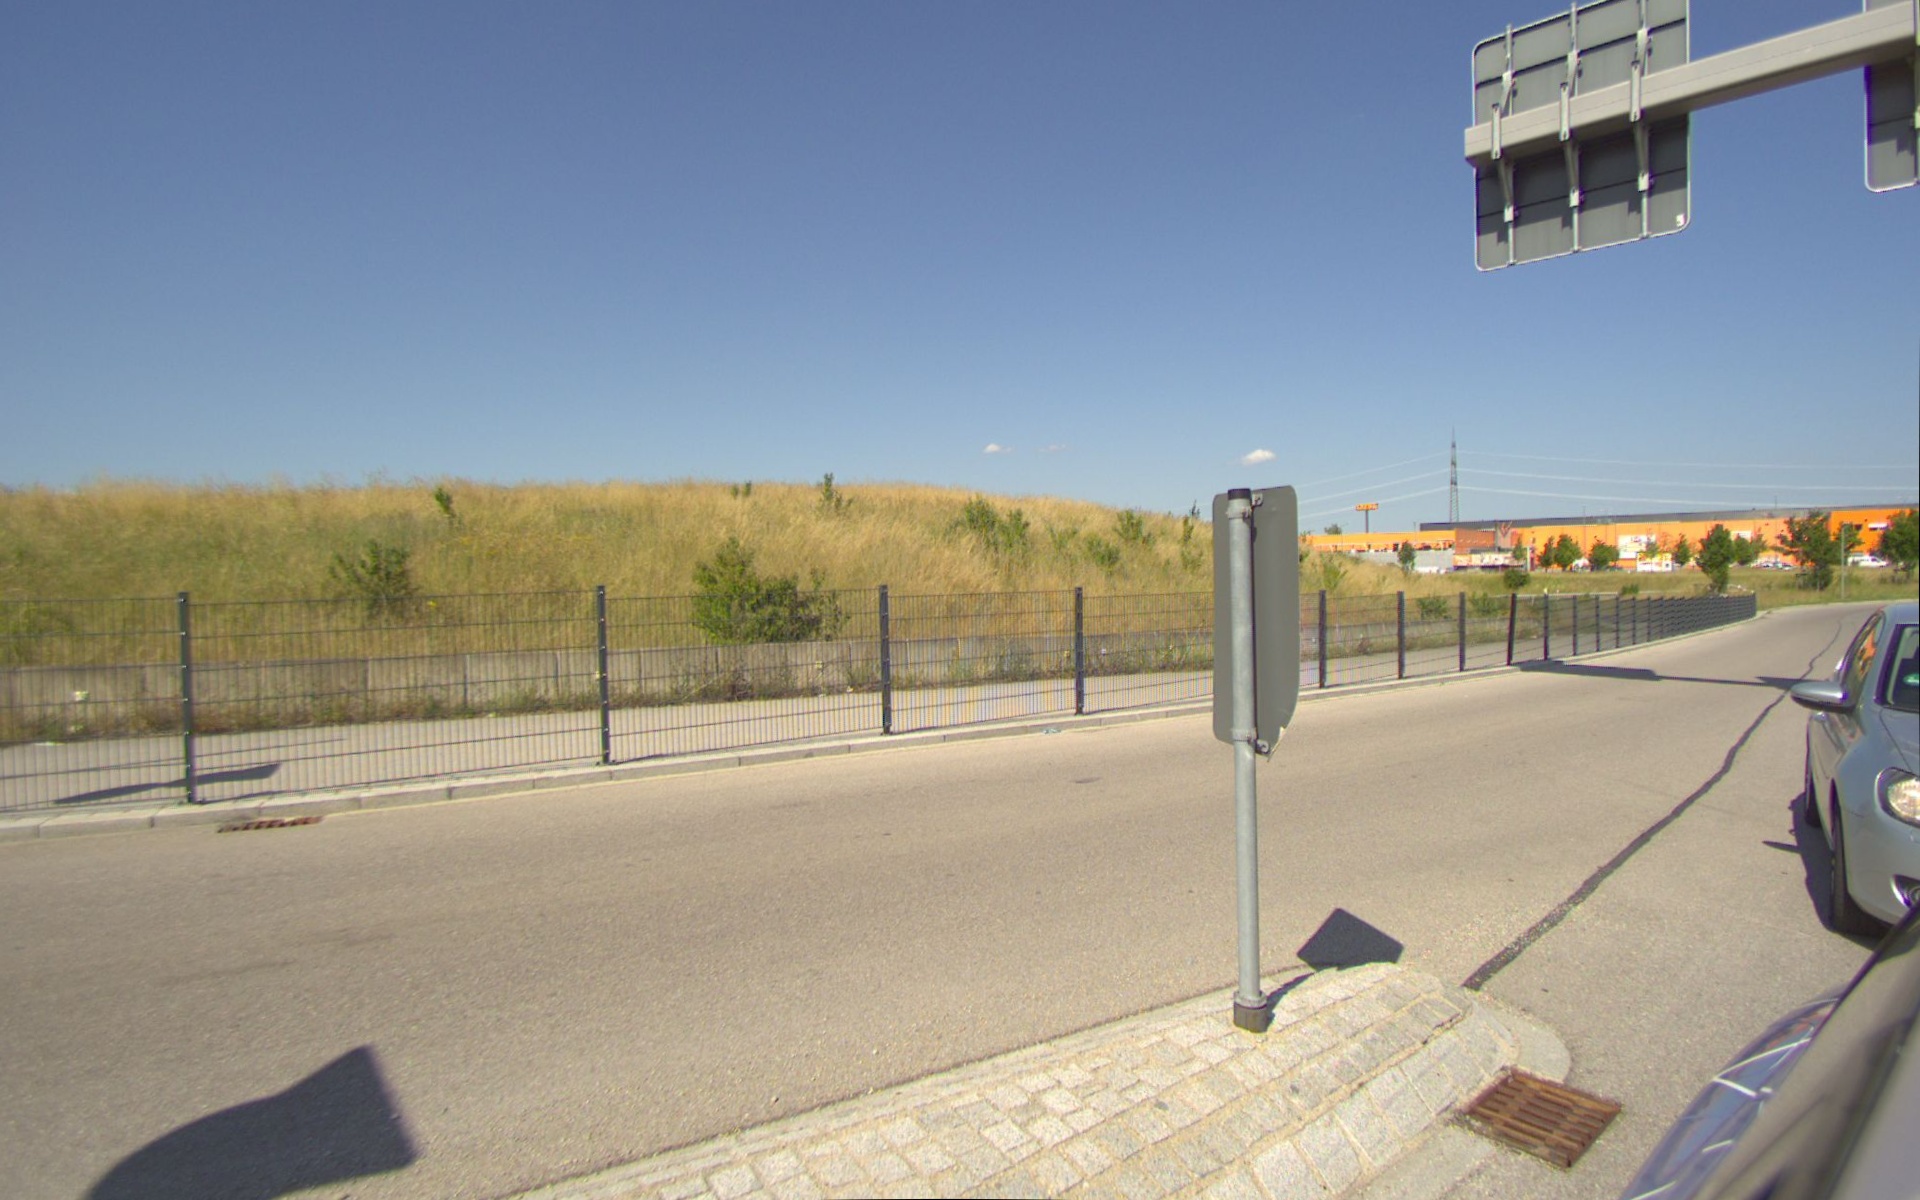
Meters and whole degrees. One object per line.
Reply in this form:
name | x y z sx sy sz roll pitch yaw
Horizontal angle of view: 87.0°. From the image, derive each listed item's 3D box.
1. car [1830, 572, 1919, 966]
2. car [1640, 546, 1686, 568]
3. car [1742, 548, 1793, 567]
car | 5.377 0.633 4.869 1.740 1.486 3.902 3 3 41
car | 87.878 -5.348 126.551 4.611 2.580 1.973 -1 0 38
car | 95.601 -5.025 119.878 4.611 2.039 1.973 -1 1 38
